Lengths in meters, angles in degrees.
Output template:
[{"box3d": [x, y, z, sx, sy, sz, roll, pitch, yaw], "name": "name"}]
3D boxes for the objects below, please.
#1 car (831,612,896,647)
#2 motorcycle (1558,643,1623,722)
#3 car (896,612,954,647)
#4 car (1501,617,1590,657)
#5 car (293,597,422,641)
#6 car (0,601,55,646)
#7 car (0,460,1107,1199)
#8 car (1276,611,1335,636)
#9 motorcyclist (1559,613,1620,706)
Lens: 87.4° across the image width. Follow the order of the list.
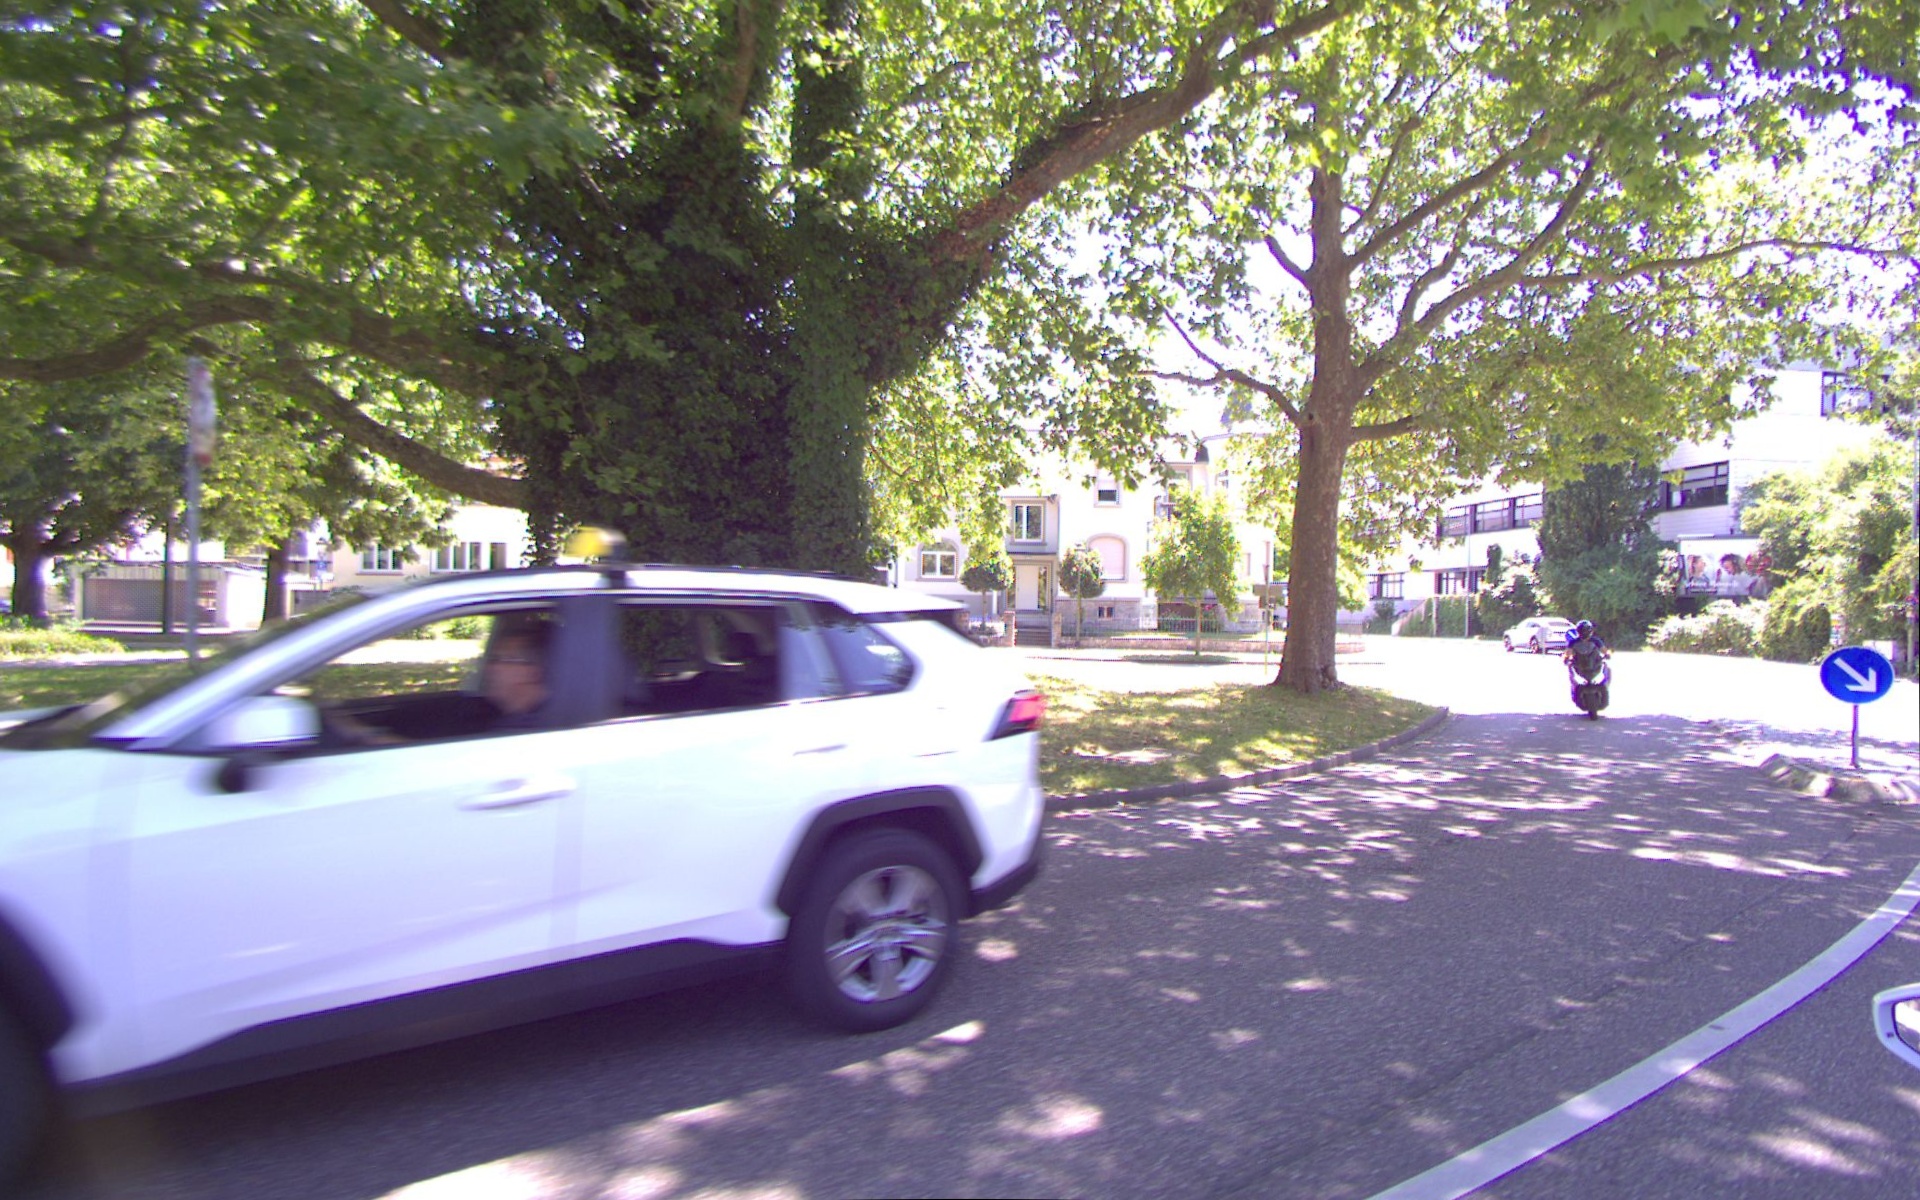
[{"box3d": [-4.333, 1.304, 45.681, 1.843, 1.454, 4.002, 2, 0, 10], "name": "car"}, {"box3d": [11.077, 1.411, 17.712, 0.795, 1.248, 2.048, 1, -1, 28], "name": "motorcycle"}, {"box3d": [-1.573, 1.340, 46.406, 1.959, 1.445, 4.002, 2, 0, 9], "name": "car"}, {"box3d": [27.481, 1.701, 47.343, 1.903, 1.636, 4.473, 2, 1, 6], "name": "car"}, {"box3d": [-26.296, 0.834, 43.961, 4.416, 1.802, 2.000, 1, 0, 1], "name": "car"}, {"box3d": [-41.355, 0.953, 42.290, 4.422, 1.802, 1.998, 1, 0, -6], "name": "car"}, {"box3d": [-1.706, 0.627, 3.719, 4.282, 1.770, 2.029, 1, -2, -36], "name": "car"}, {"box3d": [24.221, 1.629, 70.568, 1.848, 1.645, 4.289, -1, 0, -16], "name": "car"}, {"box3d": [11.141, 1.030, 17.810, 0.795, 1.576, 1.103, 1, 0, 27], "name": "motorcyclist"}]
